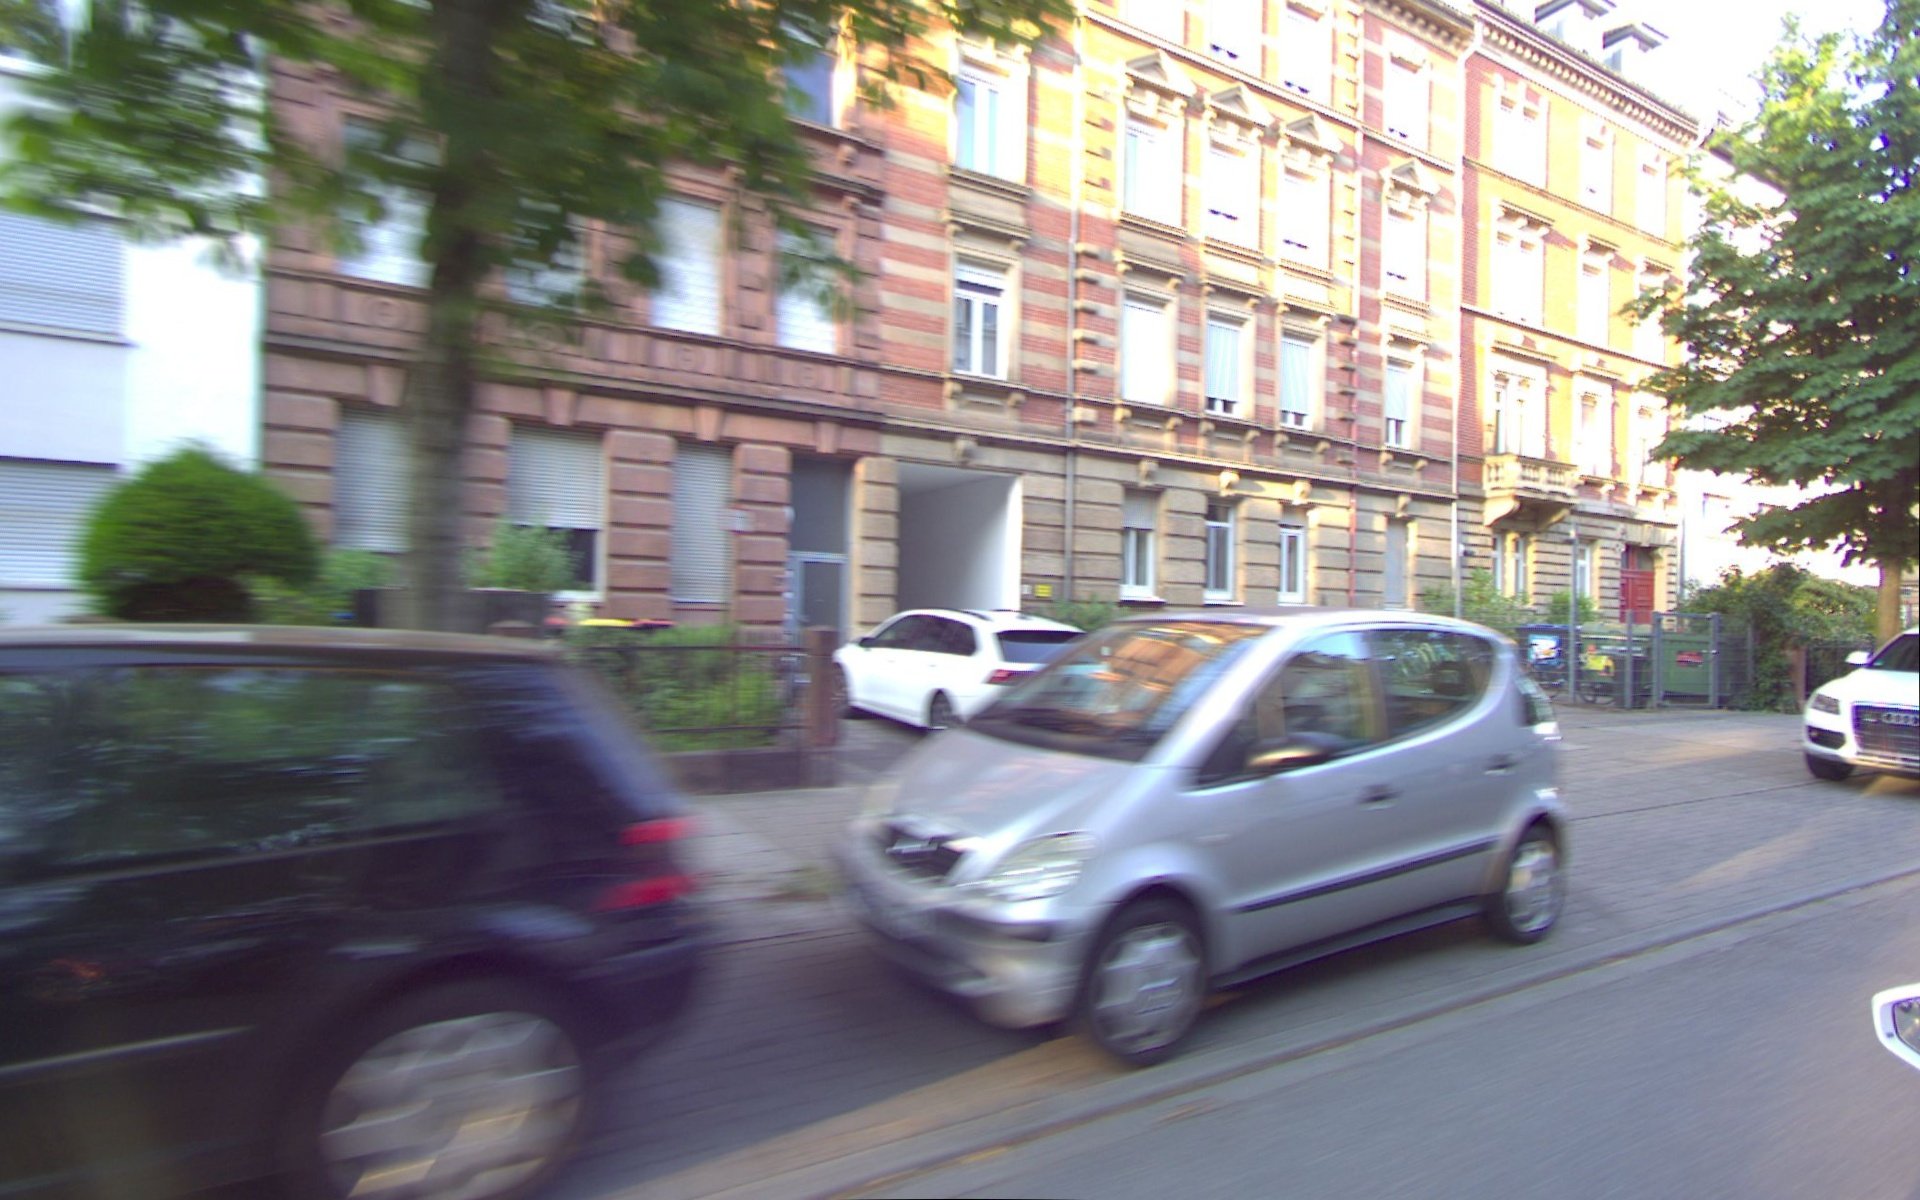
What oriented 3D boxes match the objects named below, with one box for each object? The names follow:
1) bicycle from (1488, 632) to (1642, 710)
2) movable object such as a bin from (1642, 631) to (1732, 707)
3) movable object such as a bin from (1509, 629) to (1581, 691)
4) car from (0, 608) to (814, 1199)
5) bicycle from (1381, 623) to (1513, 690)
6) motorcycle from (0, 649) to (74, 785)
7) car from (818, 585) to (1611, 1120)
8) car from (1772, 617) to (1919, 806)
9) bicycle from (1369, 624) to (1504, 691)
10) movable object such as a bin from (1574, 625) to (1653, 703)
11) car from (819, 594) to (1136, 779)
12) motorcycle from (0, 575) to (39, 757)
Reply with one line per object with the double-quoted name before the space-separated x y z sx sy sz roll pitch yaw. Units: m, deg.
"bicycle" 11.195 1.277 18.729 0.634 1.208 2.521 1 2 -24
"movable object such as a bin" 13.784 1.277 19.056 0.991 1.339 1.009 1 1 -25
"movable object such as a bin" 12.557 1.268 21.569 0.998 1.225 1.086 0 2 -44
"car" -2.505 0.770 2.564 3.911 1.490 1.610 1 -1 -28
"bicycle" 10.470 1.184 21.702 0.638 1.208 2.507 0 2 -40
"motorcycle" -7.397 0.888 7.349 0.578 0.971 2.232 1 -1 -20
"car" 1.358 0.814 4.765 3.705 1.624 1.586 2 -1 -34
"car" 10.673 1.085 10.568 4.376 1.740 1.912 1 -1 -31
"bicycle" 10.081 1.179 21.358 0.638 1.208 2.507 0 2 -40
"movable object such as a bin" 13.041 1.243 20.047 0.998 1.433 1.086 0 2 -44
"car" -0.006 0.814 11.444 1.689 1.548 4.071 2 2 -31
"motorcycle" -8.756 0.582 8.289 0.665 1.660 2.847 1 -1 -21
